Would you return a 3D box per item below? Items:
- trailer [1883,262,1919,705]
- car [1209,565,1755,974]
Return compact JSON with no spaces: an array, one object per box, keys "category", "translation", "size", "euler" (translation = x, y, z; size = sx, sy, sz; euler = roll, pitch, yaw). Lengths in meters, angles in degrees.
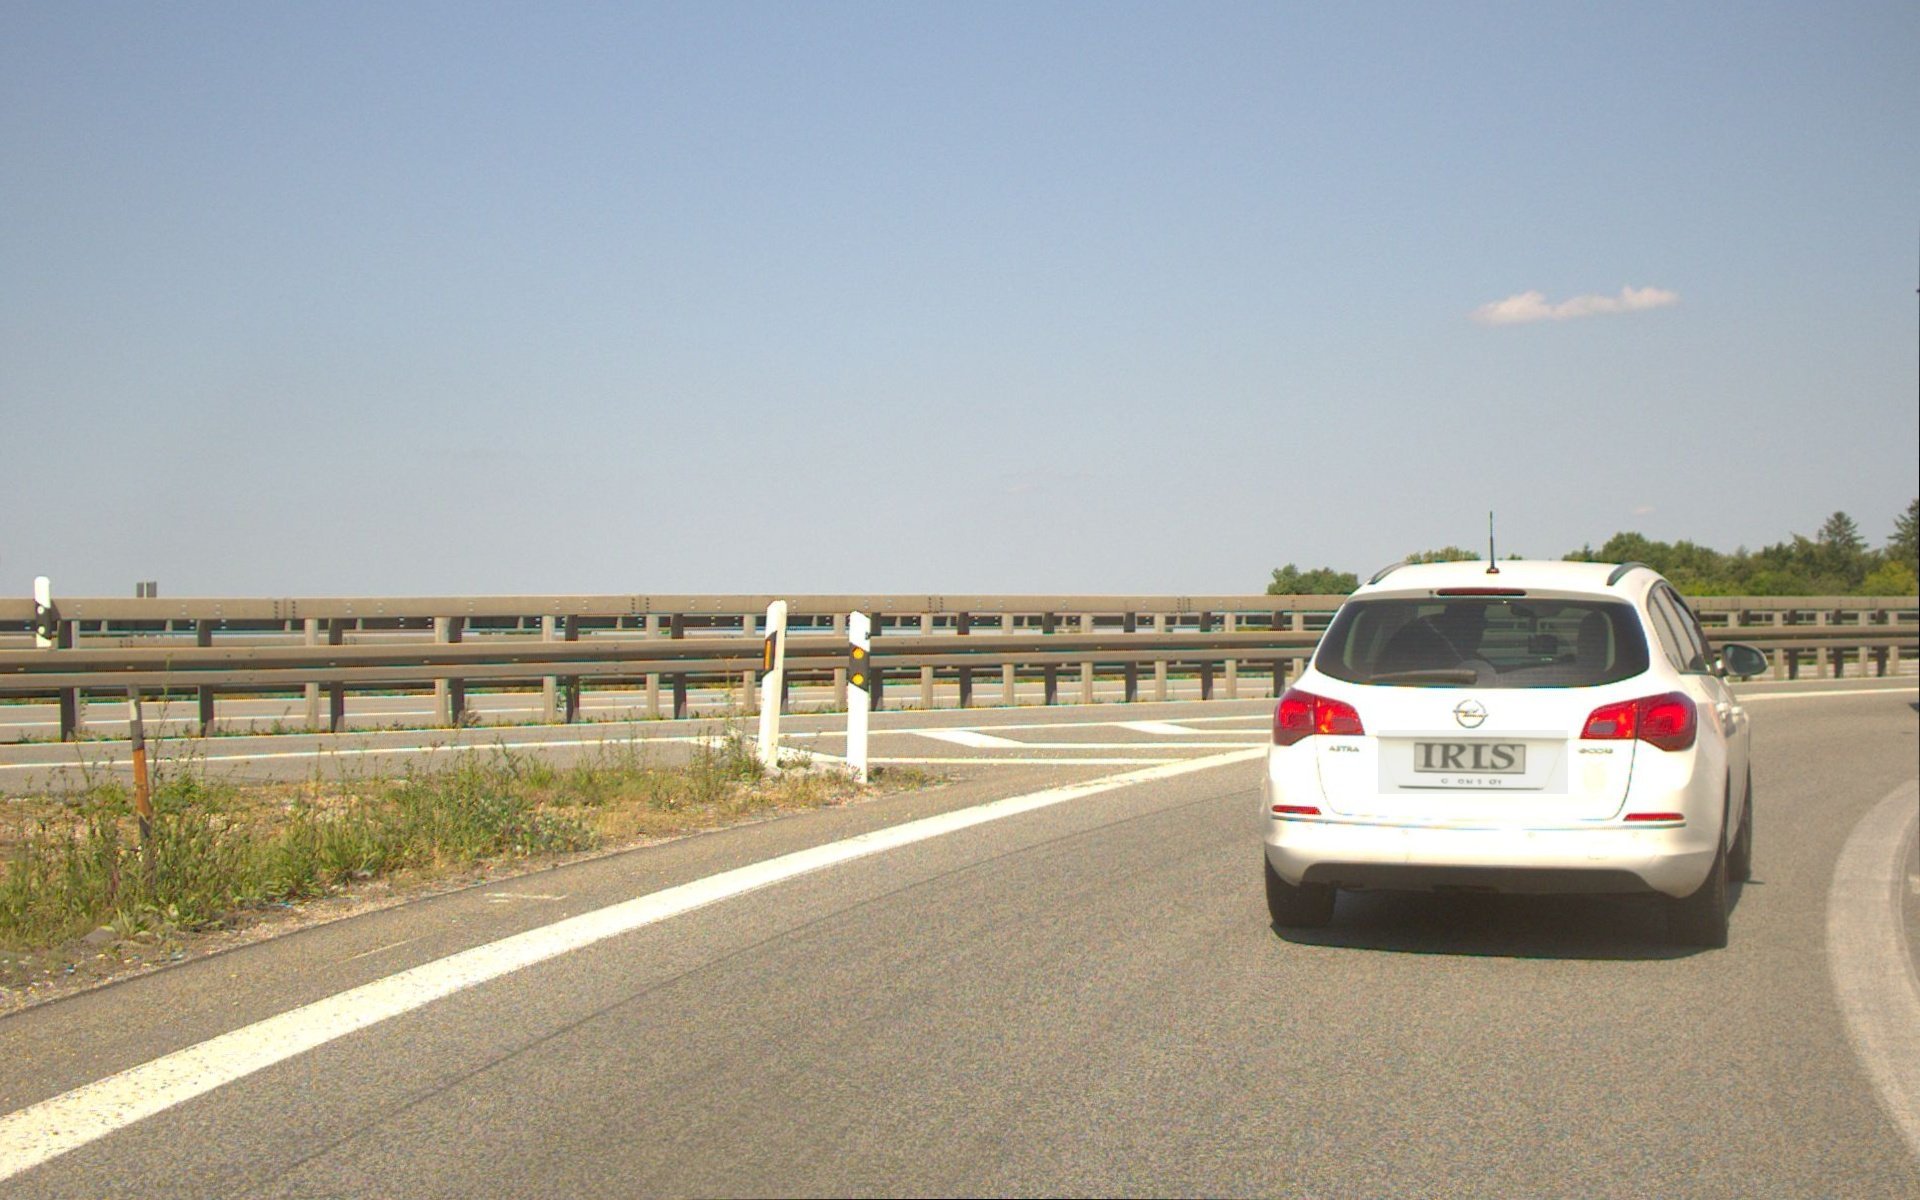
[{"category":"trailer","translation":[13.085,-0.966,35.973],"size":[2.918,4.131,11.234],"euler":[0,-1,35]},{"category":"car","translation":[2.367,0.582,14.598],"size":[1.855,1.438,4.369],"euler":[1,1,14]}]
